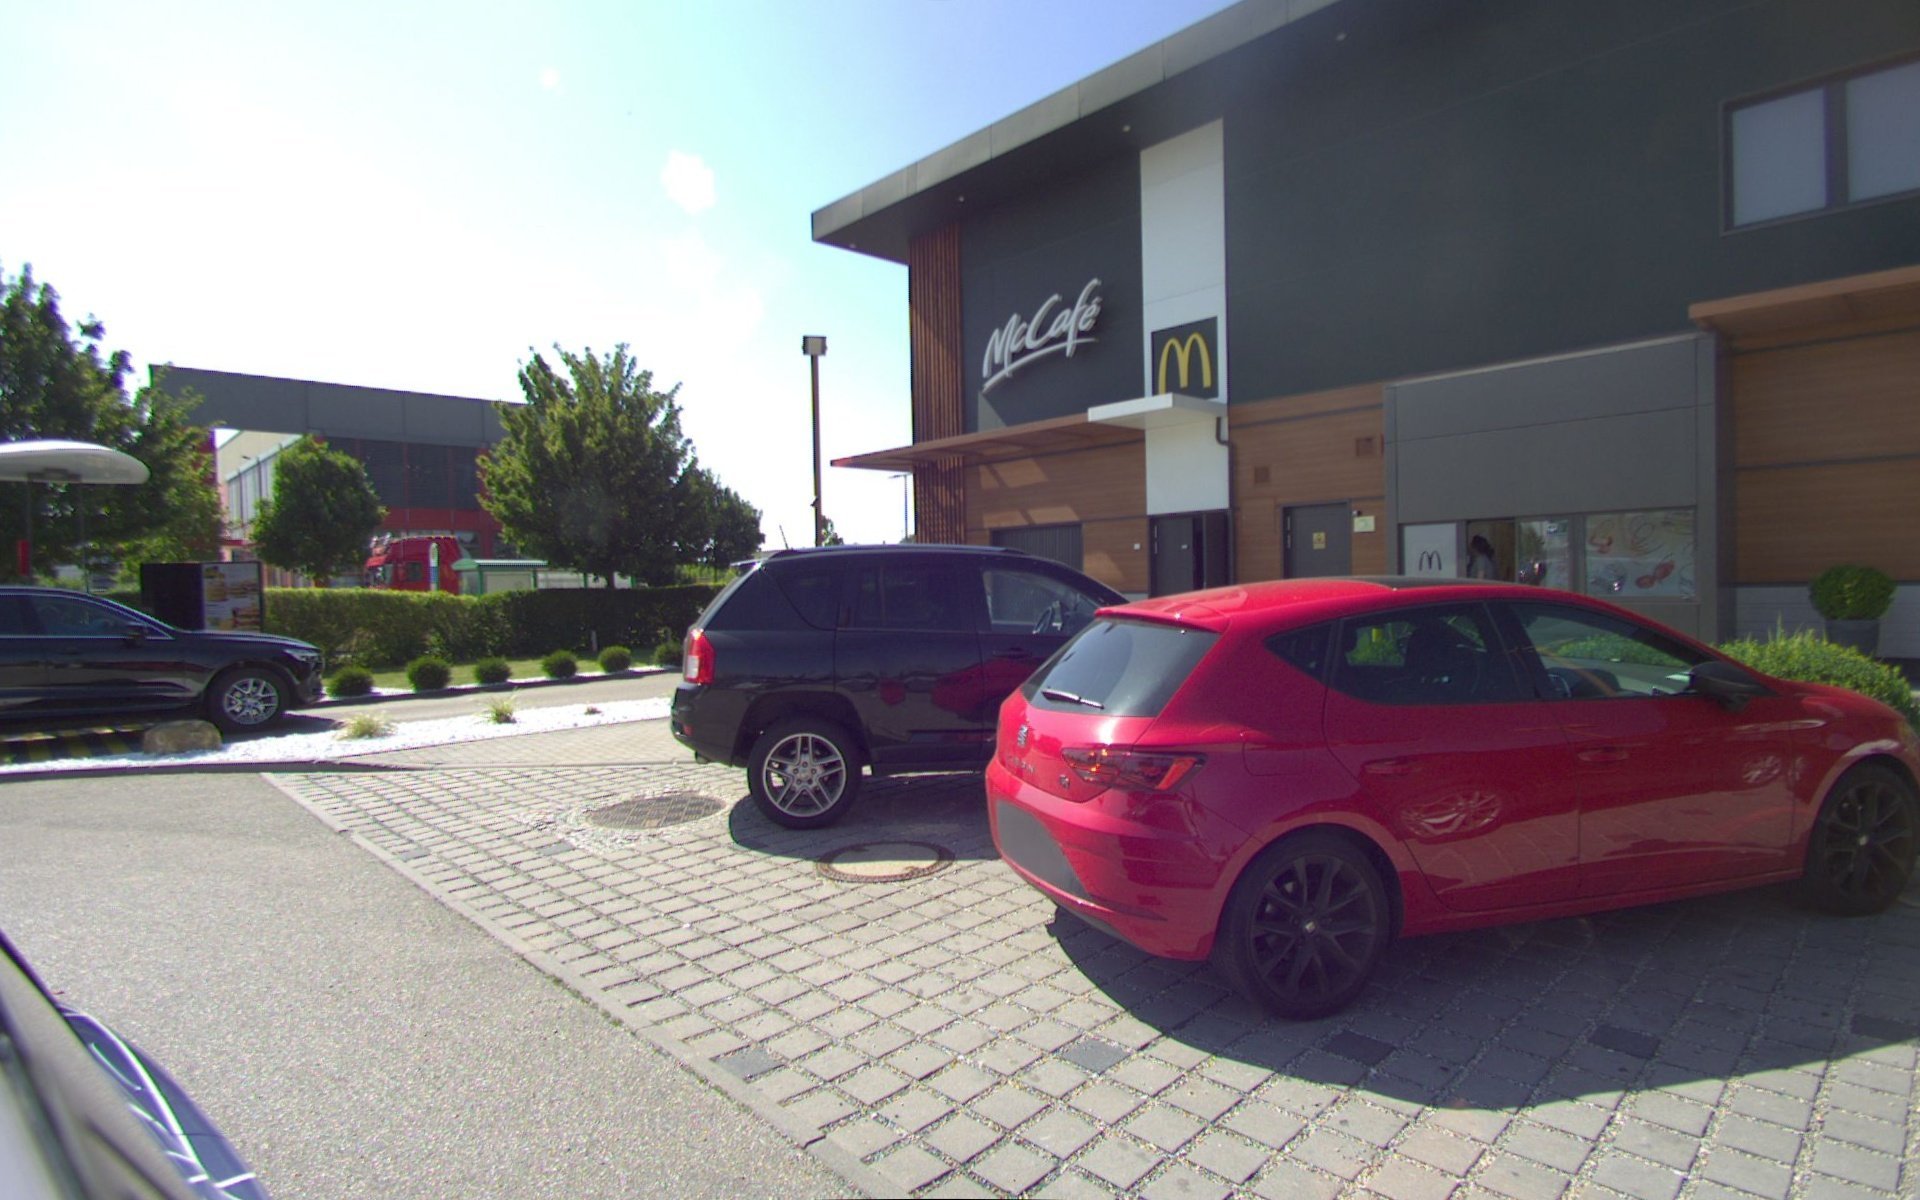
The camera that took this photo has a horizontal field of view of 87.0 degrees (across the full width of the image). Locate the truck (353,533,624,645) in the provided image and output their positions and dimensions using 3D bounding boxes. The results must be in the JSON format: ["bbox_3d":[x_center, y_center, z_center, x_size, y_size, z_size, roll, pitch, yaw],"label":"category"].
[{"bbox_3d":[-18.112,-0.425,39.456,8.995,3.895,3.213,-1,0,-44],"label":"truck"}]

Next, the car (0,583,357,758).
[{"bbox_3d":[-9.418,0.672,10.614,1.925,1.642,4.991,-1,0,44],"label":"car"}]

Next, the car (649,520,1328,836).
[{"bbox_3d":[0.142,0.419,6.773,3.977,1.718,1.677,-2,1,-6],"label":"car"}]

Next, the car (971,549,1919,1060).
[{"bbox_3d":[2.087,0.579,4.305,3.709,1.455,1.680,-2,0,-15],"label":"car"}]
